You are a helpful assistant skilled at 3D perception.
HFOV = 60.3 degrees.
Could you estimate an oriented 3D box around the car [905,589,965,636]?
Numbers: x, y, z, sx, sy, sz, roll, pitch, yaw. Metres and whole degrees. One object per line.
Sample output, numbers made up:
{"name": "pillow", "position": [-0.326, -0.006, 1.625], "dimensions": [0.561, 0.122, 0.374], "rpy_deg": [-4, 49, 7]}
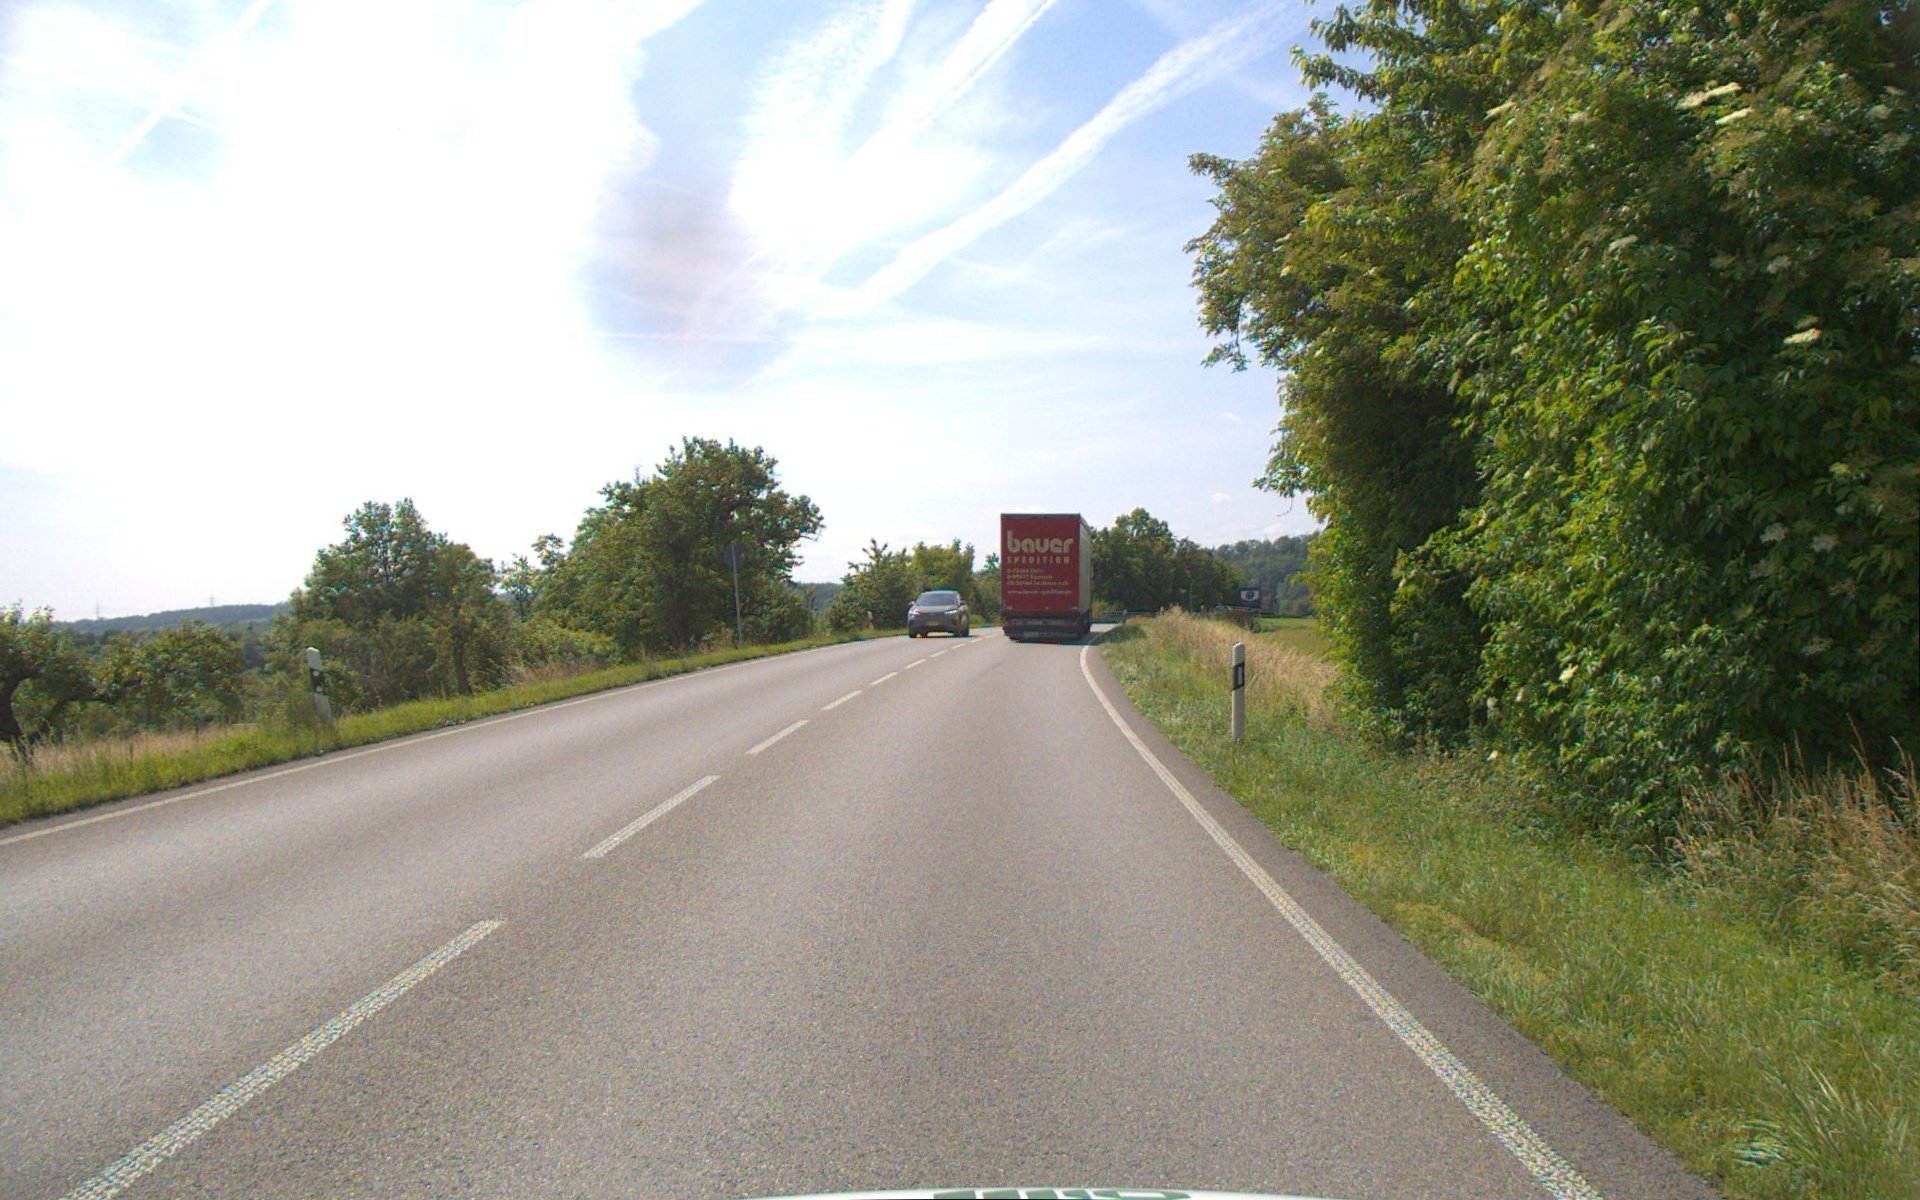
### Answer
{"name": "car", "position": [-0.860, 0.434, 59.511], "dimensions": [1.840, 1.621, 4.493], "rpy_deg": [-1, 0, 3]}

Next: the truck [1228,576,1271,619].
{"name": "truck", "position": [35.345, -0.178, 201.308], "dimensions": [3.820, 4.772, 16.387], "rpy_deg": [-2, -1, 14]}

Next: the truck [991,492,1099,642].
{"name": "truck", "position": [3.127, -0.935, 57.077], "dimensions": [3.046, 4.585, 12.174], "rpy_deg": [1, -1, 6]}
